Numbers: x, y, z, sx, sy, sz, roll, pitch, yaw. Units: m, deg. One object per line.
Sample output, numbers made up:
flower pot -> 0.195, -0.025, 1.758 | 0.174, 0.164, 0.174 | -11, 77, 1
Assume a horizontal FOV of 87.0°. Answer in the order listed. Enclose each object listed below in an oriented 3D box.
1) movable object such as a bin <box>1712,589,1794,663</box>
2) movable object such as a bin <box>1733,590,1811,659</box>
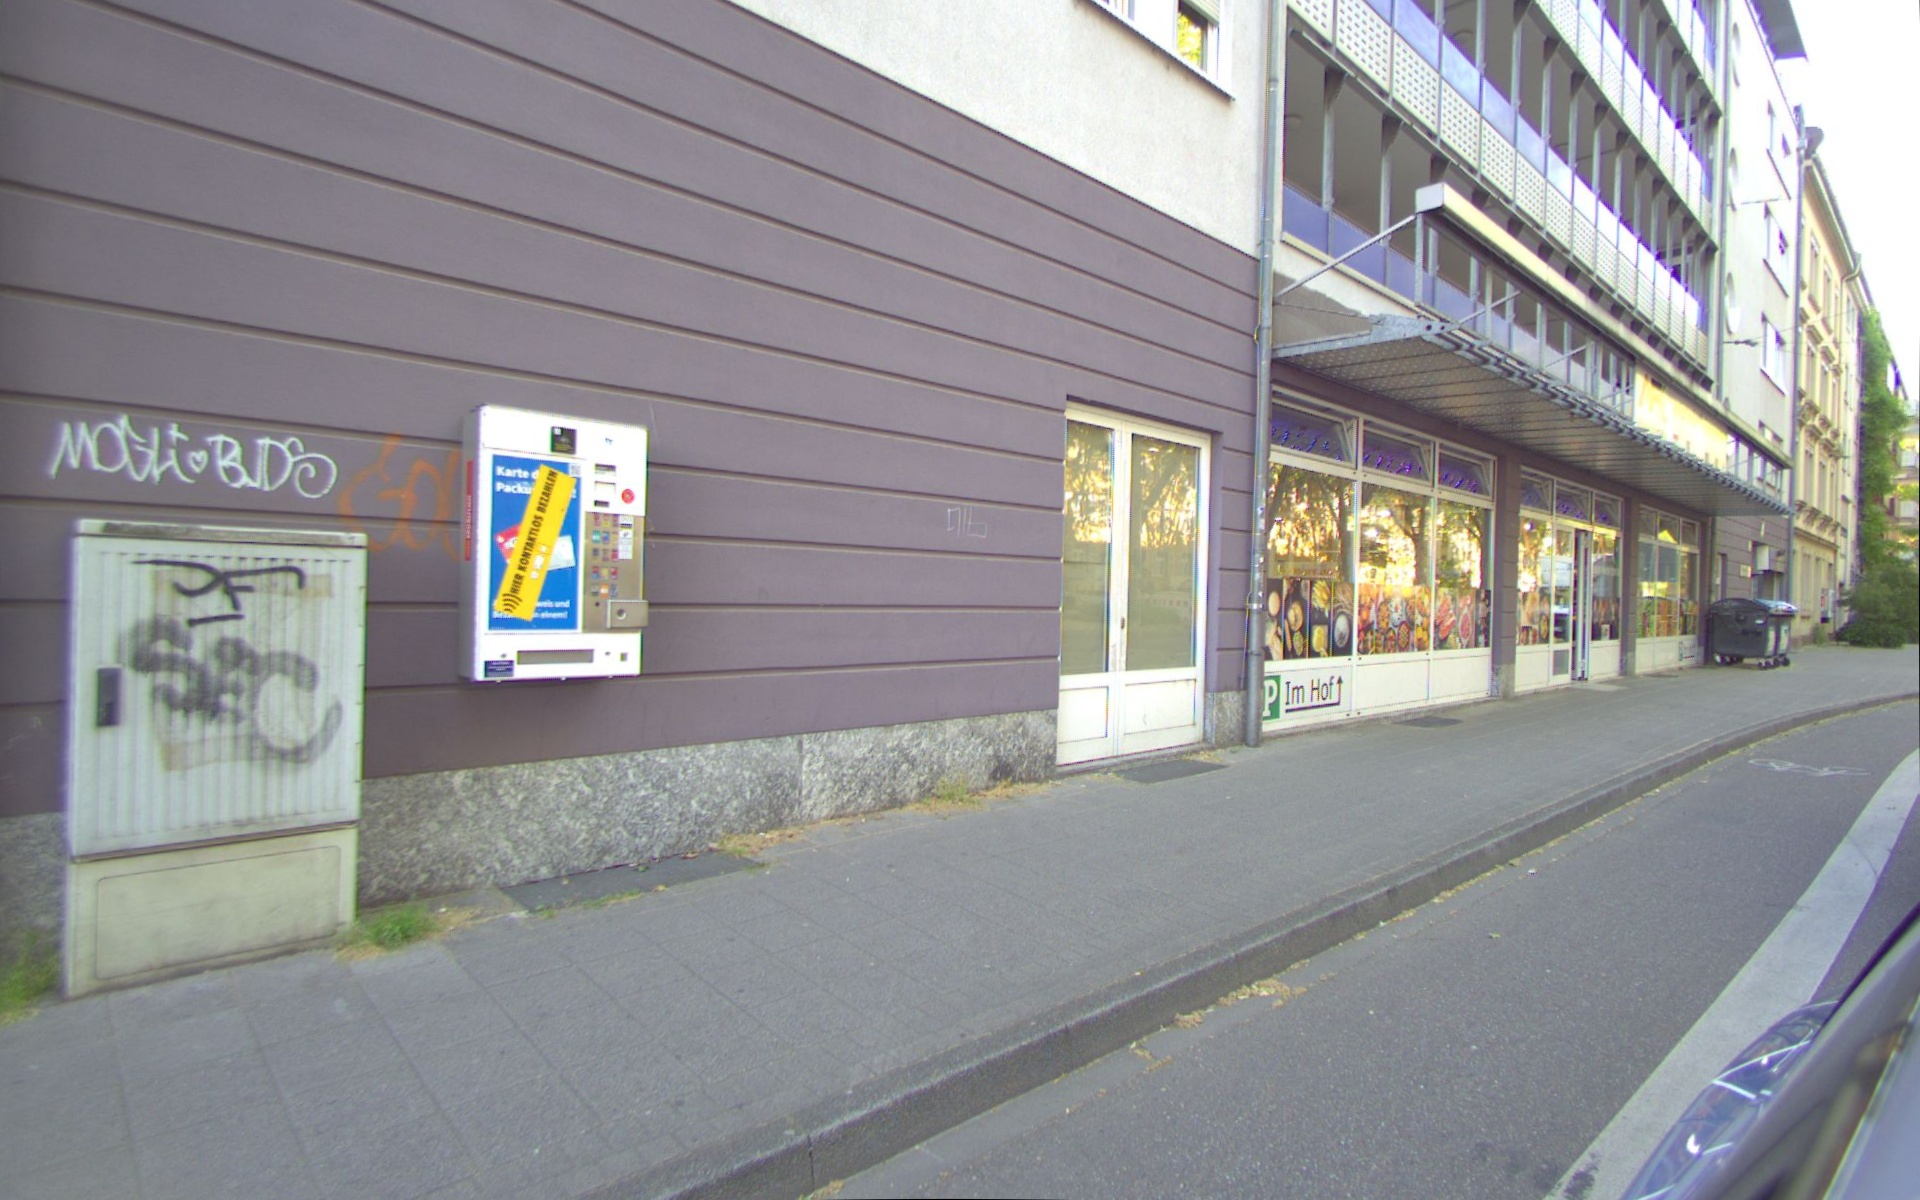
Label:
movable object such as a bin -> 16.286, 0.517, 20.789 | 0.923, 1.444, 1.158 | 1, 1, -40
movable object such as a bin -> 17.762, 0.518, 22.145 | 0.923, 1.444, 1.158 | 1, 1, -40
